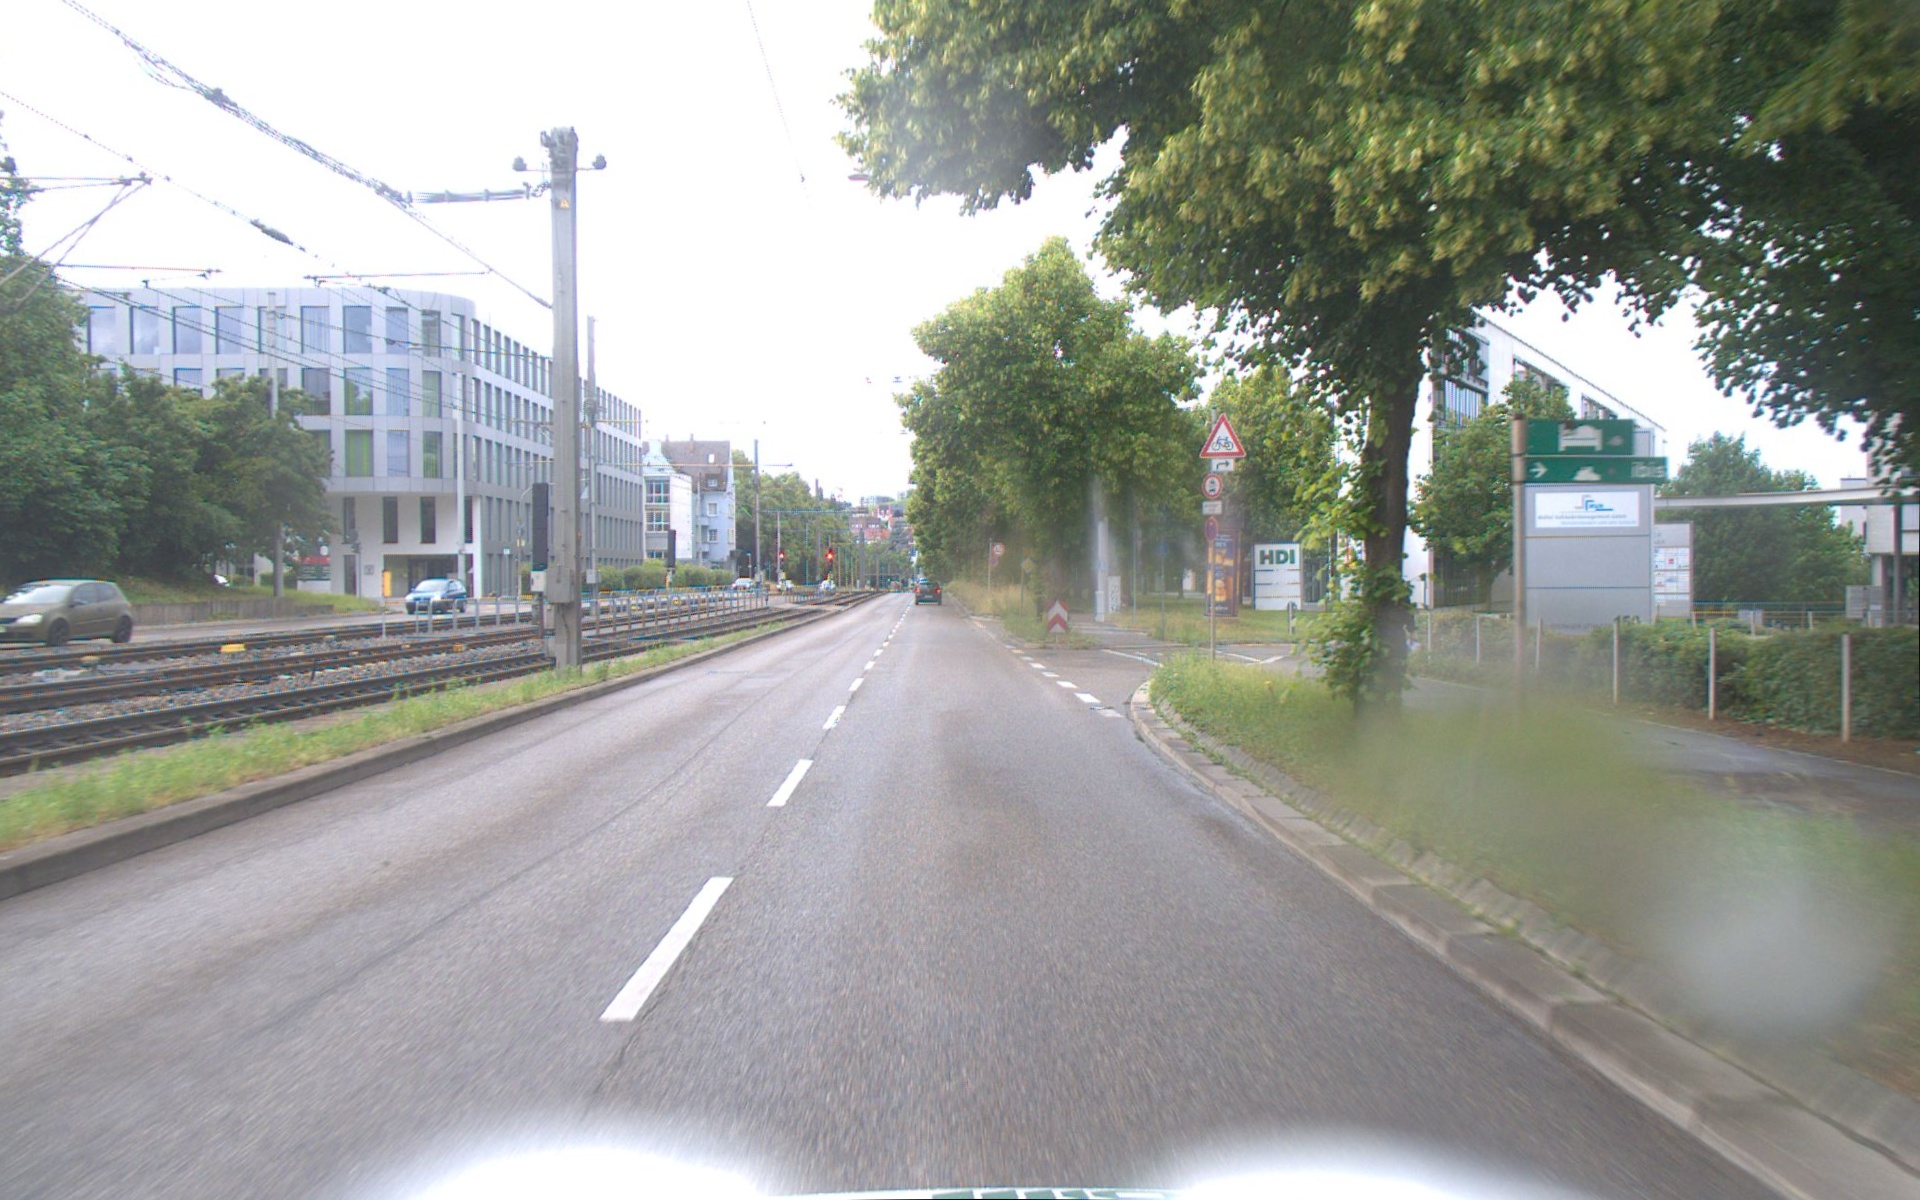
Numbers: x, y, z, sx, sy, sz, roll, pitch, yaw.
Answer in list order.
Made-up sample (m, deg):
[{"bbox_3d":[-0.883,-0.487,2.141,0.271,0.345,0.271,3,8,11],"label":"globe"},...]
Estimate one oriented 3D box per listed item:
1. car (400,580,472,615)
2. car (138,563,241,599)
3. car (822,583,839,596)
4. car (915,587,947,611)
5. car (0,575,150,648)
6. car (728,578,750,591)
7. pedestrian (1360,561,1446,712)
[{"bbox_3d":[-22.357,-0.124,70.653,1.724,1.422,3.901,0,1,2],"label":"car"},{"bbox_3d":[-35.825,-0.879,76.979,3.841,1.478,1.925,3,0,-3],"label":"car"},{"bbox_3d":[-17.146,-1.437,218.729,1.863,1.673,4.884,0,1,0],"label":"car"},{"bbox_3d":[-1.785,-0.091,102.449,1.942,1.466,4.473,0,1,-1],"label":"car"},{"bbox_3d":[-19.976,0.226,36.610,1.852,1.512,4.309,0,1,2],"label":"car"},{"bbox_3d":[-21.739,-1.541,162.914,1.720,1.265,3.987,0,1,-1],"label":"car"},{"bbox_3d":[5.525,0.444,20.661,0.809,1.828,0.867,1,0,-1],"label":"pedestrian"}]
